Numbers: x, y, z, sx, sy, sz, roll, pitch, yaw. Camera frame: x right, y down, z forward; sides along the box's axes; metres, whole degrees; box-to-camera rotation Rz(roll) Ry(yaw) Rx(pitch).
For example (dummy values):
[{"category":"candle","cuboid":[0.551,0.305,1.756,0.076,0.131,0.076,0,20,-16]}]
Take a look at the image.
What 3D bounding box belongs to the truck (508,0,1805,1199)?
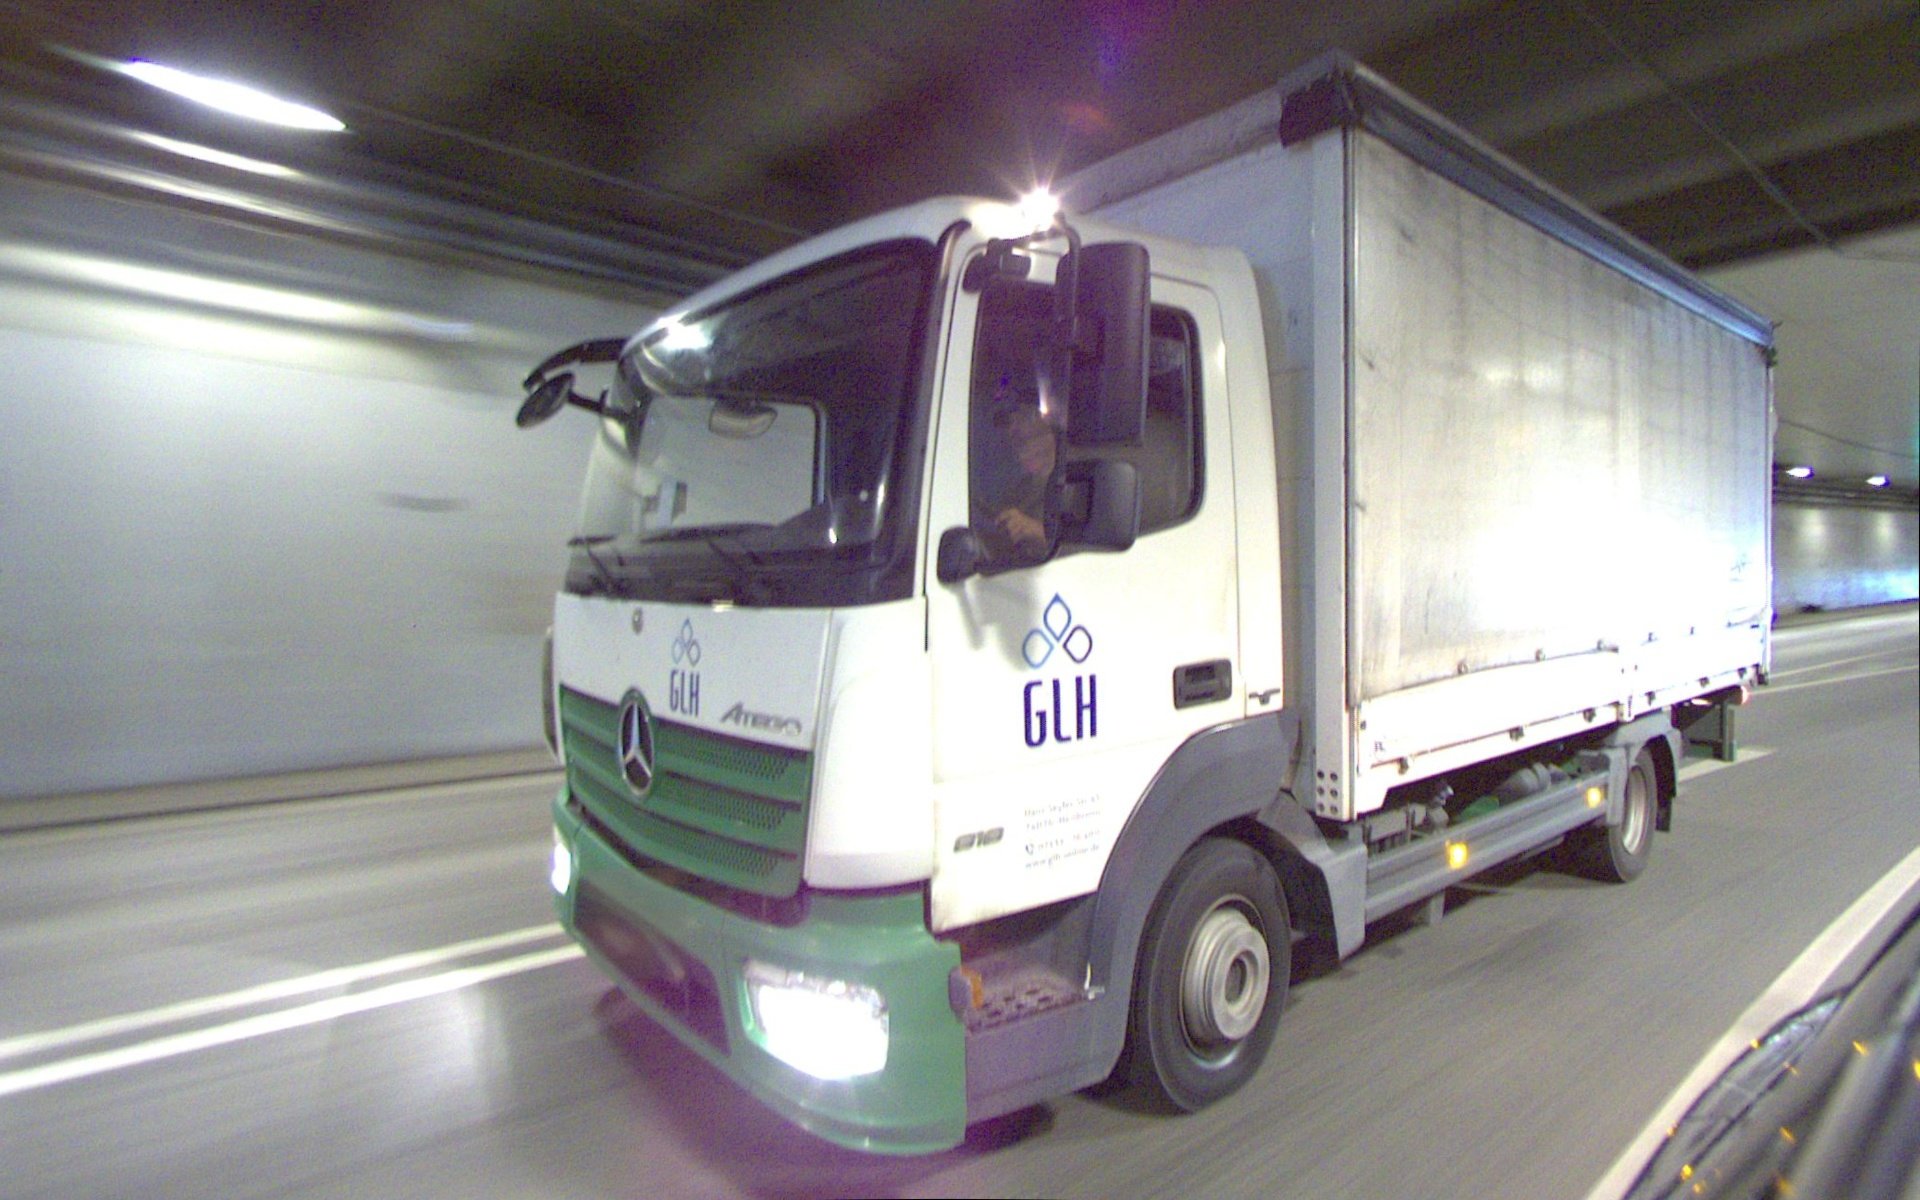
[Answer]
[{"category":"truck","cuboid":[1.820,-0.208,5.160,7.115,3.221,2.559,0,0,-40]}]
